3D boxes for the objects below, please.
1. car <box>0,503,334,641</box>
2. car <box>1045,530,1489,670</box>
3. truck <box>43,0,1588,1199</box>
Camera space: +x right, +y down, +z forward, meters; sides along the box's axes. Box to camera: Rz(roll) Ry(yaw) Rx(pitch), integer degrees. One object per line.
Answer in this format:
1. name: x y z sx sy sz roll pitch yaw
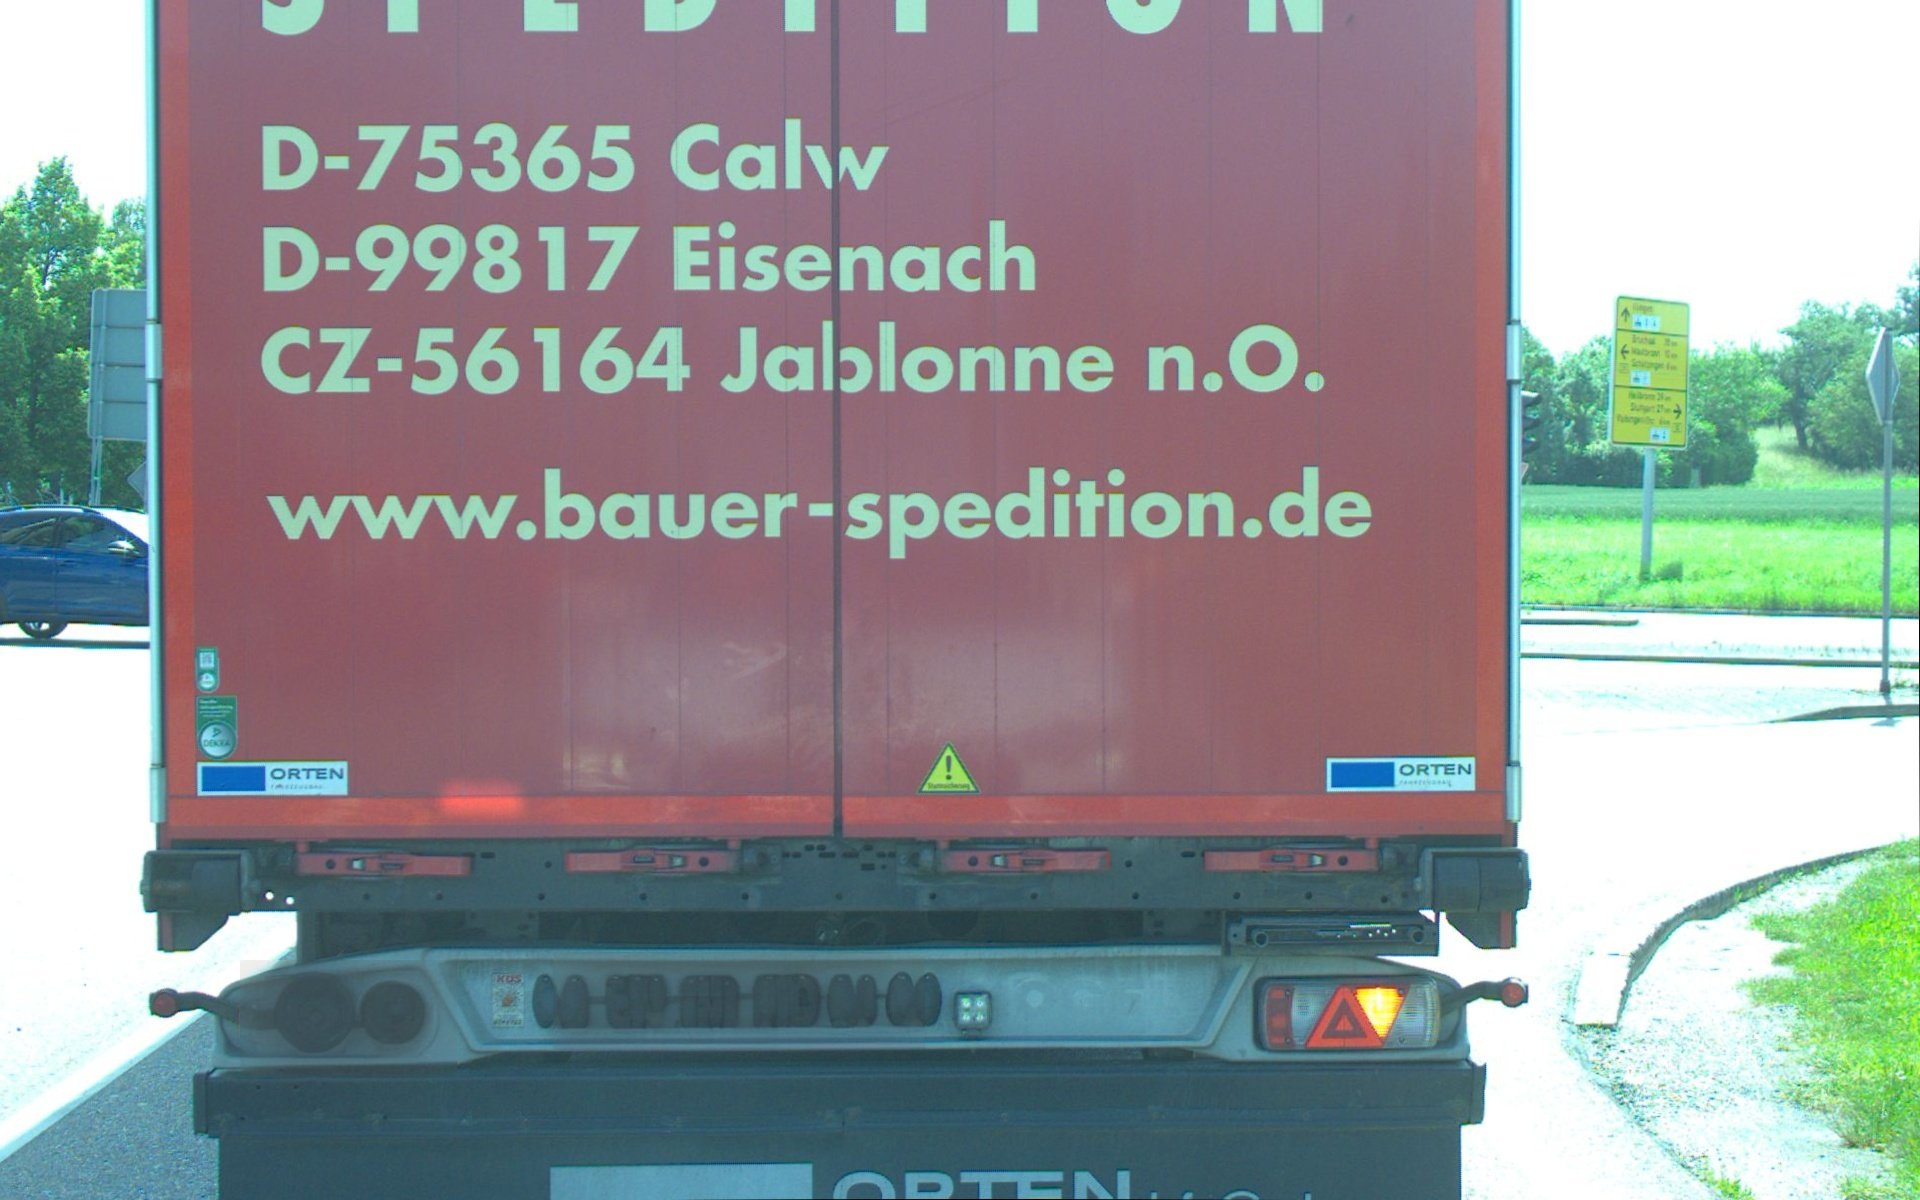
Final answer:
1. car: -9.259 -0.324 37.957 4.269 1.424 1.741 1 1 14
2. car: 3.145 -0.012 34.972 4.269 1.300 1.741 1 1 13
3. truck: -0.385 -0.805 14.420 2.734 3.911 16.627 0 1 -1
